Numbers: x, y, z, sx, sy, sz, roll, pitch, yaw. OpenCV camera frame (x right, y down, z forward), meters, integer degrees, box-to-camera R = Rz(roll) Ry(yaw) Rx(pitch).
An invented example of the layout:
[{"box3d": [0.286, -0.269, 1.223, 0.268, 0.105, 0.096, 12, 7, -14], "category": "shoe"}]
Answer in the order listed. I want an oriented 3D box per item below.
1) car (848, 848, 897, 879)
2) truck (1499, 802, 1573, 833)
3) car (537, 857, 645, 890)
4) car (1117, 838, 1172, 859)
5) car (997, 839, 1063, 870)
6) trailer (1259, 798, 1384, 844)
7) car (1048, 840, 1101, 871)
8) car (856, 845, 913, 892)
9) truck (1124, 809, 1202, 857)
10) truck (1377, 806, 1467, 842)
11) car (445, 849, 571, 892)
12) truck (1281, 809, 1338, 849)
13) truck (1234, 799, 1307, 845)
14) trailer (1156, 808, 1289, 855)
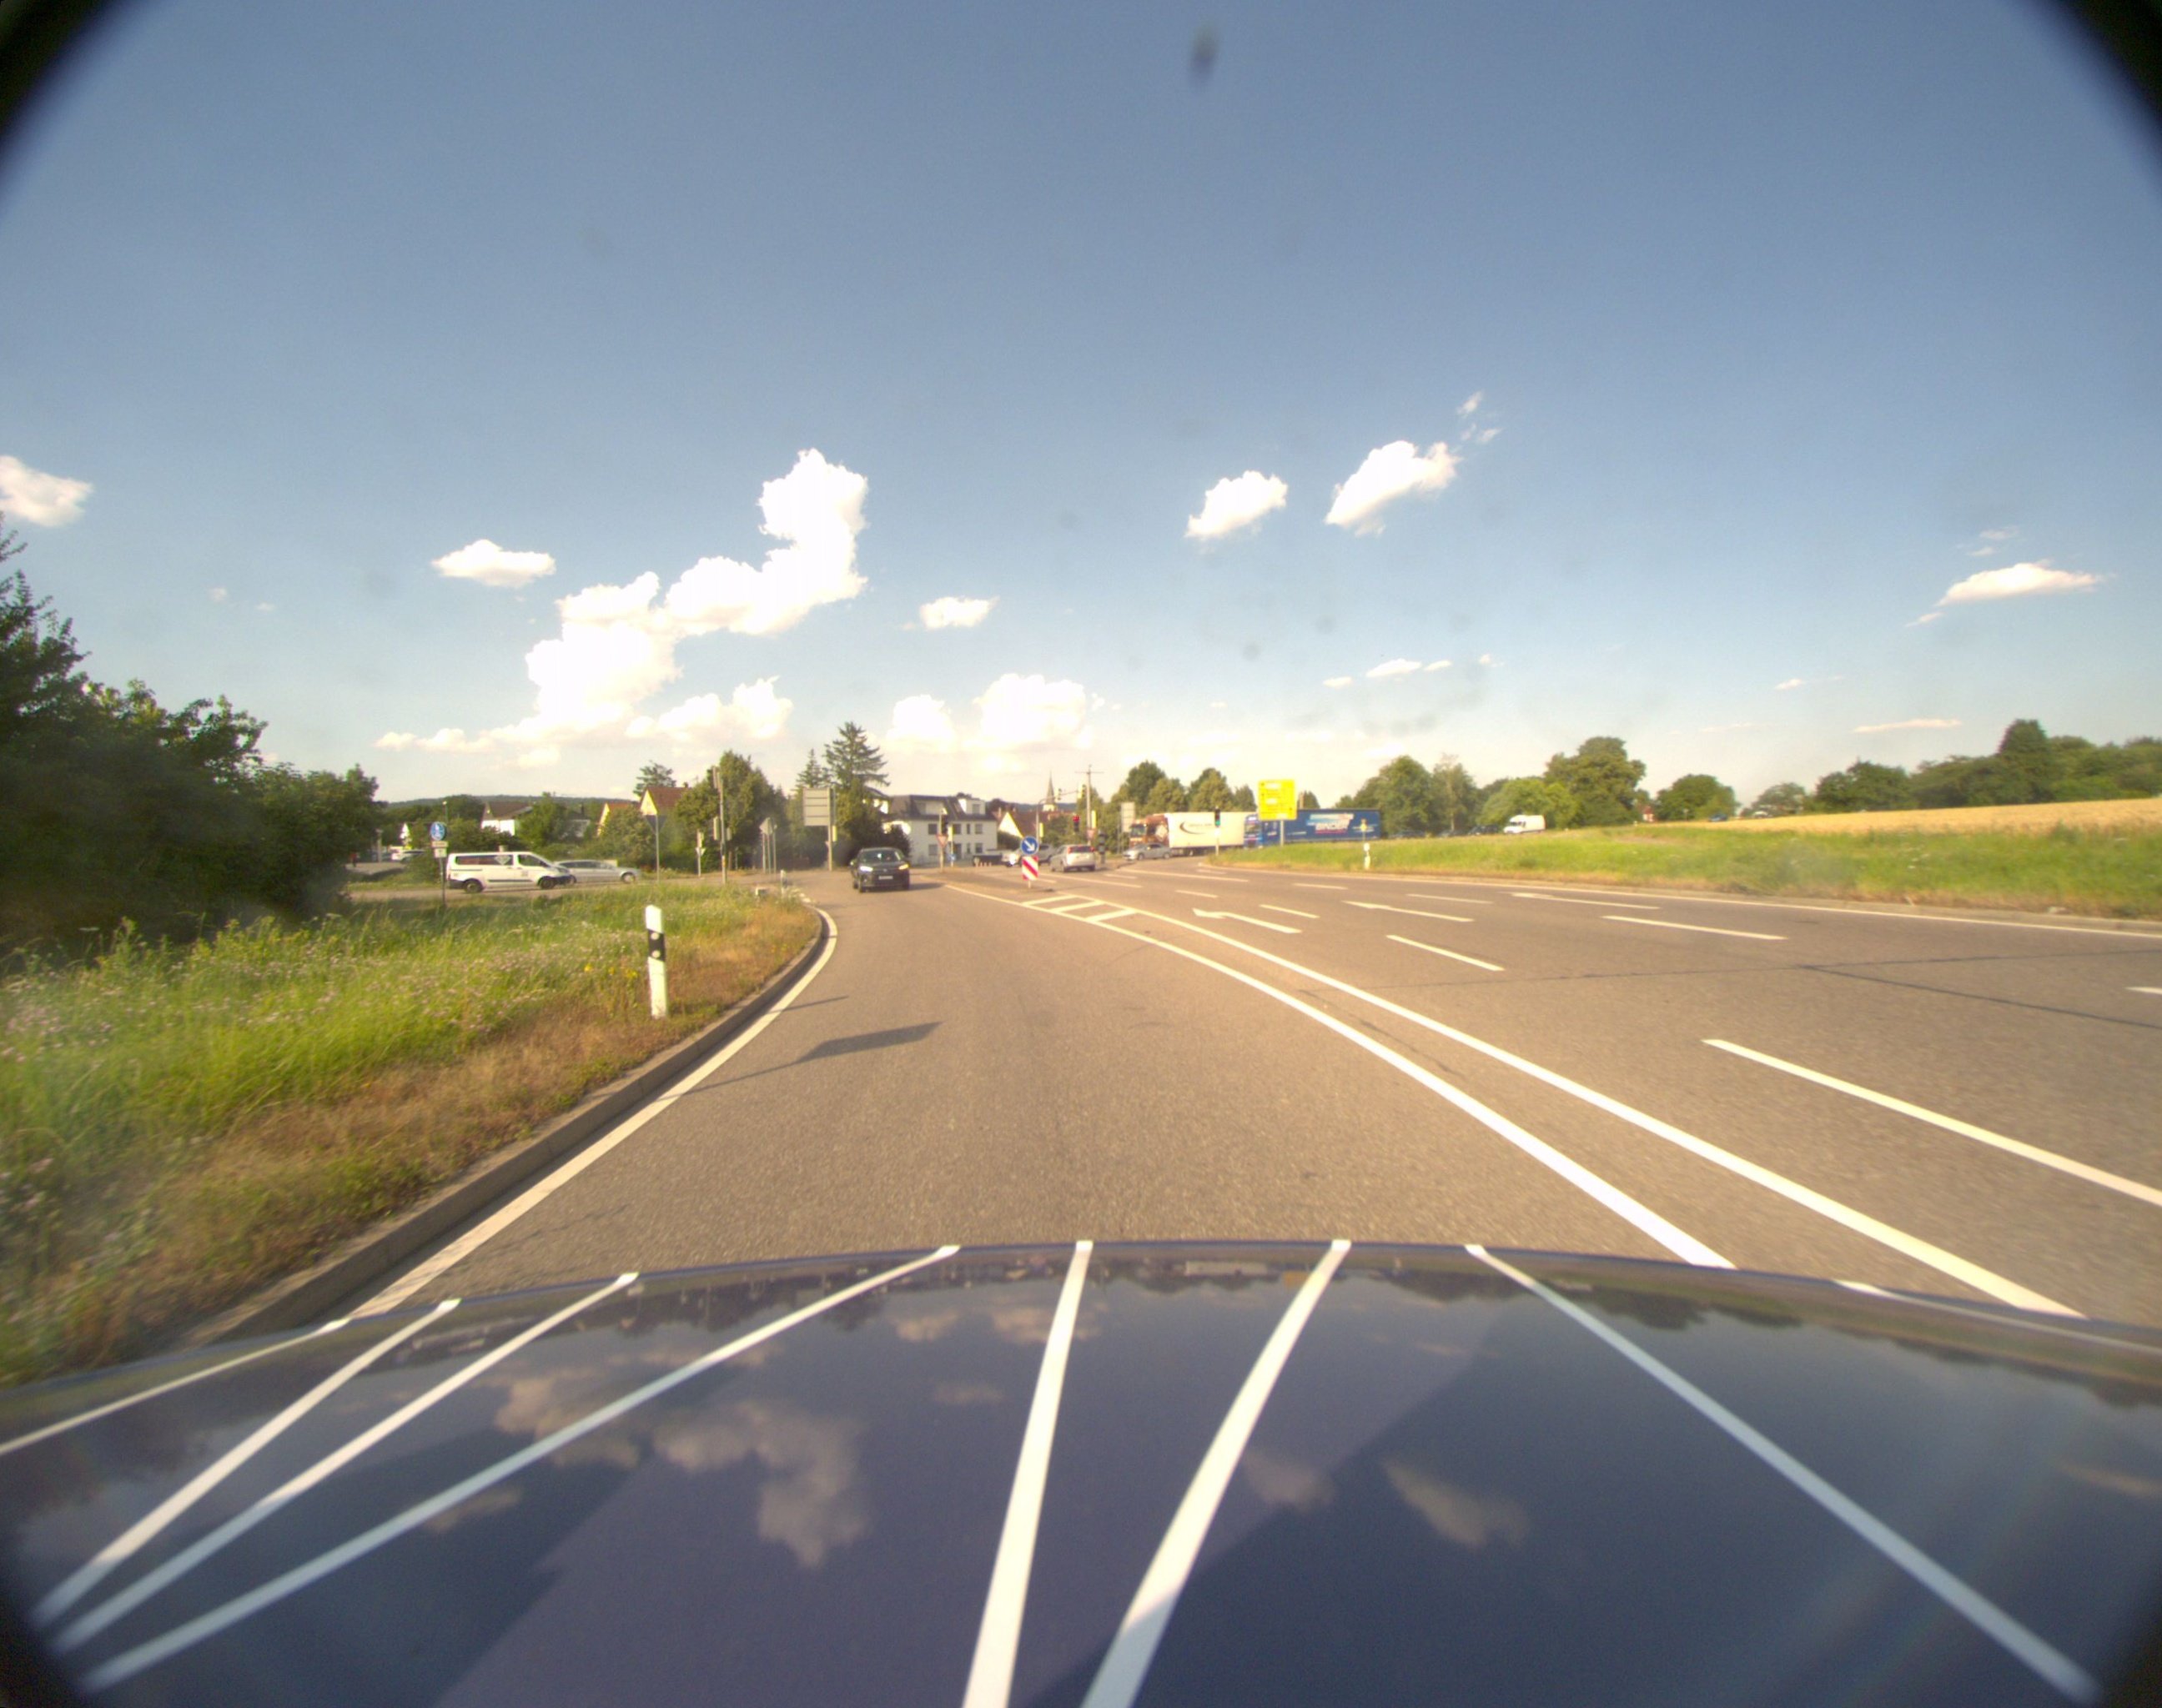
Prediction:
[{"box3d": [-11.873, 0.492, 43.512, 1.775, 1.604, 4.545, -3, 1, -5], "category": "car"}, {"box3d": [60.771, -4.943, 101.267, 12.917, 3.752, 2.524, -3, 1, -31], "category": "truck"}, {"box3d": [-27.614, 1.080, 43.000, 4.960, 1.505, 1.858, -3, 1, -32], "category": "car"}, {"box3d": [5.239, -0.452, 62.472, 4.005, 1.477, 1.995, -5, 1, -32], "category": "car"}, {"box3d": [-3.699, 0.026, 55.500, 4.379, 1.937, 1.903, -5, 2, -39], "category": "car"}, {"box3d": [23.684, -3.290, 74.182, 13.769, 3.982, 3.411, -3, 1, -32], "category": "trailer"}, {"box3d": [-0.423, 0.123, 41.649, 1.821, 1.519, 4.349, -3, -1, -15], "category": "car"}, {"box3d": [-7.731, 0.526, 29.587, 1.790, 1.620, 4.462, -3, 1, -18], "category": "car"}, {"box3d": [7.463, -1.937, 68.591, 6.671, 4.020, 2.534, -3, 1, -31], "category": "truck"}, {"box3d": [39.854, -3.539, 88.396, 12.917, 3.752, 2.524, -3, 1, -31], "category": "truck"}, {"box3d": [-28.273, 0.781, 37.733, 4.826, 1.936, 1.902, -1, 0, -32], "category": "car"}, {"box3d": [23.418, -2.547, 77.821, 5.694, 3.783, 2.257, -3, 1, -32], "category": "truck"}, {"box3d": [17.555, -2.946, 70.379, 5.609, 3.982, 3.368, -3, 1, -32], "category": "truck"}, {"box3d": [13.734, -2.249, 72.423, 14.357, 4.043, 2.534, -3, 1, -31], "category": "trailer"}]
